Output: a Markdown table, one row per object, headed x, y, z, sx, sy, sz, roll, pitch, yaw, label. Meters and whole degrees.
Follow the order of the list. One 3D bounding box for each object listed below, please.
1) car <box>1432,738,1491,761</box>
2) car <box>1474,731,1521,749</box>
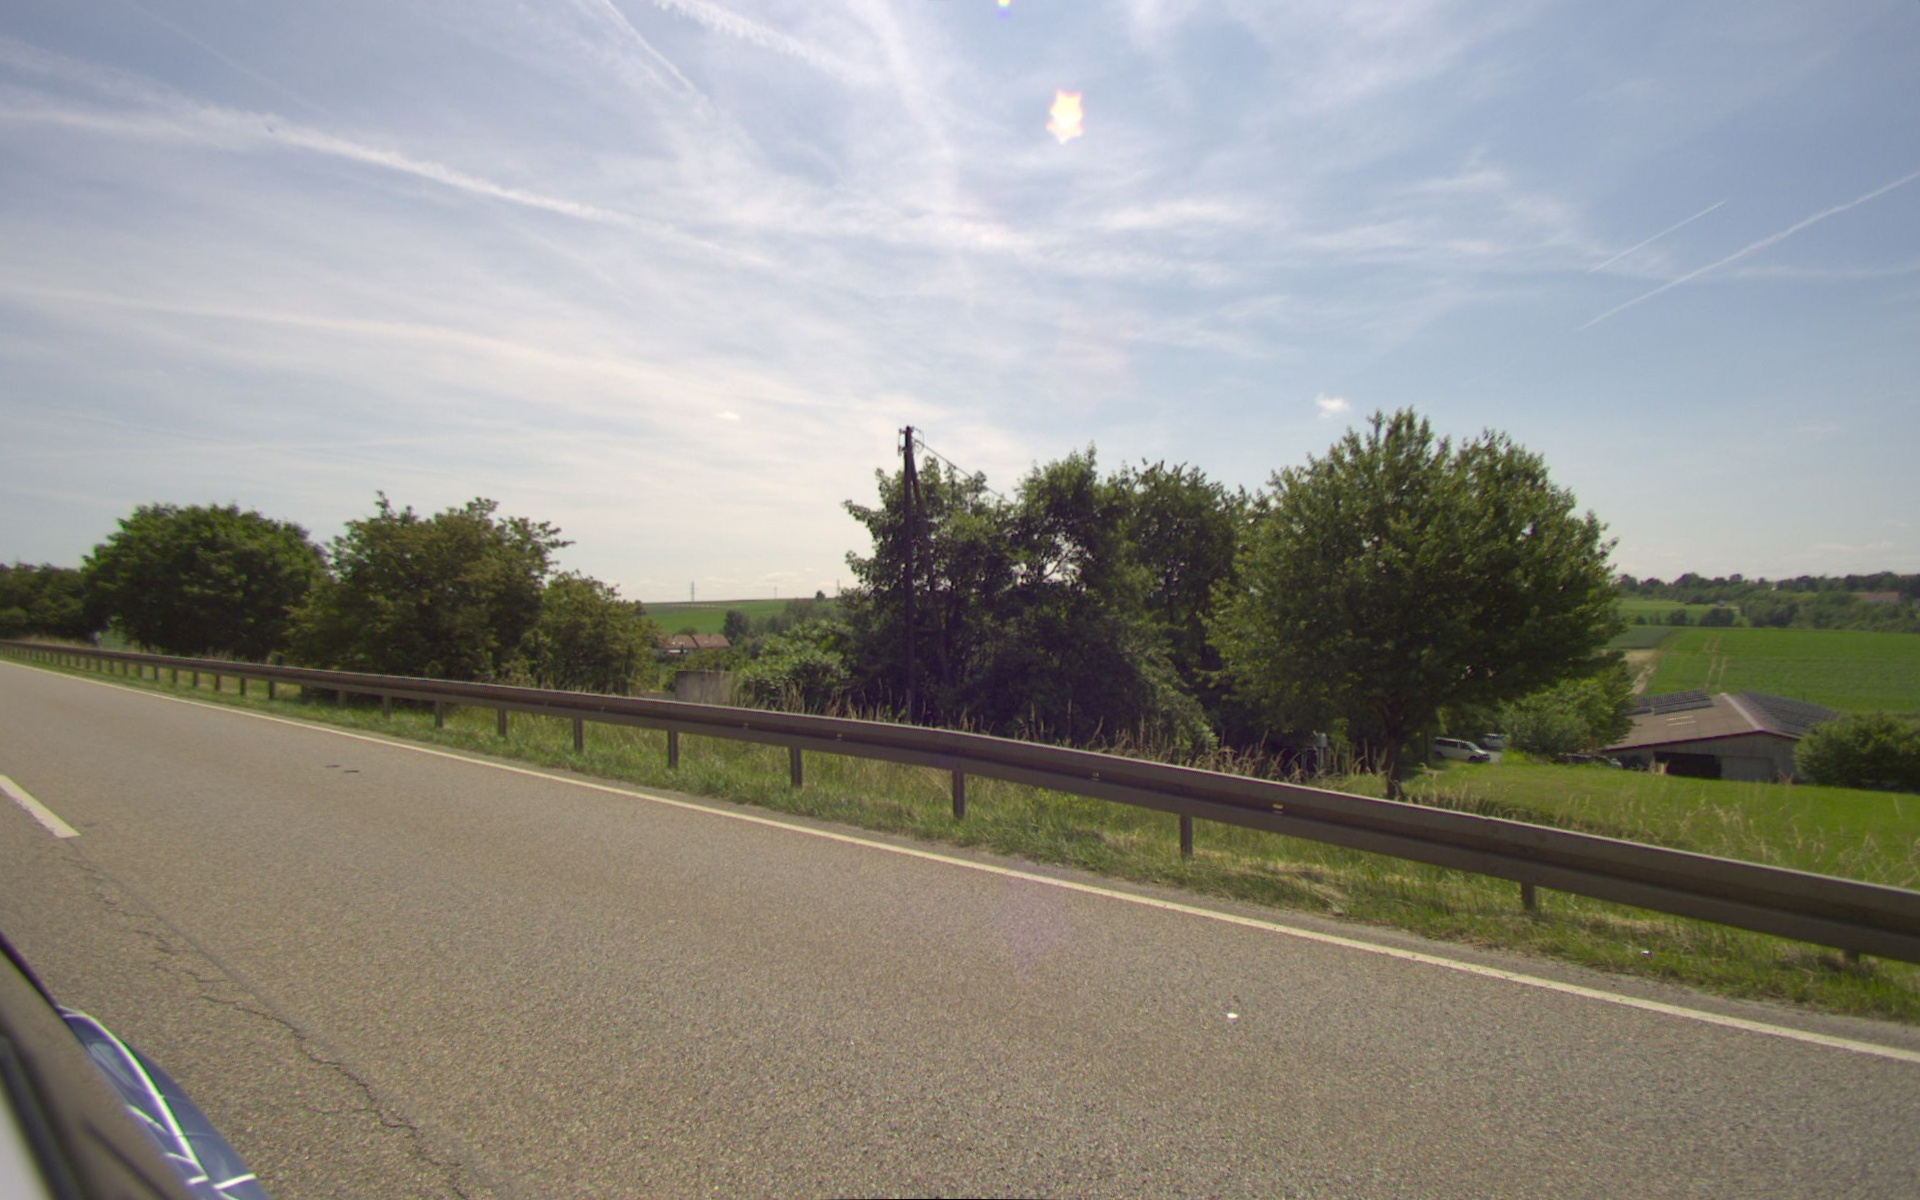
| x | y | z | sx | sy | sz | roll | pitch | yaw | label |
| --- | --- | --- | --- | --- | --- | --- | --- | --- | --- |
| 45.433 | 13.543 | 91.724 | 4.496 | 1.697 | 1.973 | -1 | -6 | 41 | car |
| 61.878 | 16.114 | 116.631 | 4.495 | 1.697 | 1.973 | -1 | -7 | 40 | car |
